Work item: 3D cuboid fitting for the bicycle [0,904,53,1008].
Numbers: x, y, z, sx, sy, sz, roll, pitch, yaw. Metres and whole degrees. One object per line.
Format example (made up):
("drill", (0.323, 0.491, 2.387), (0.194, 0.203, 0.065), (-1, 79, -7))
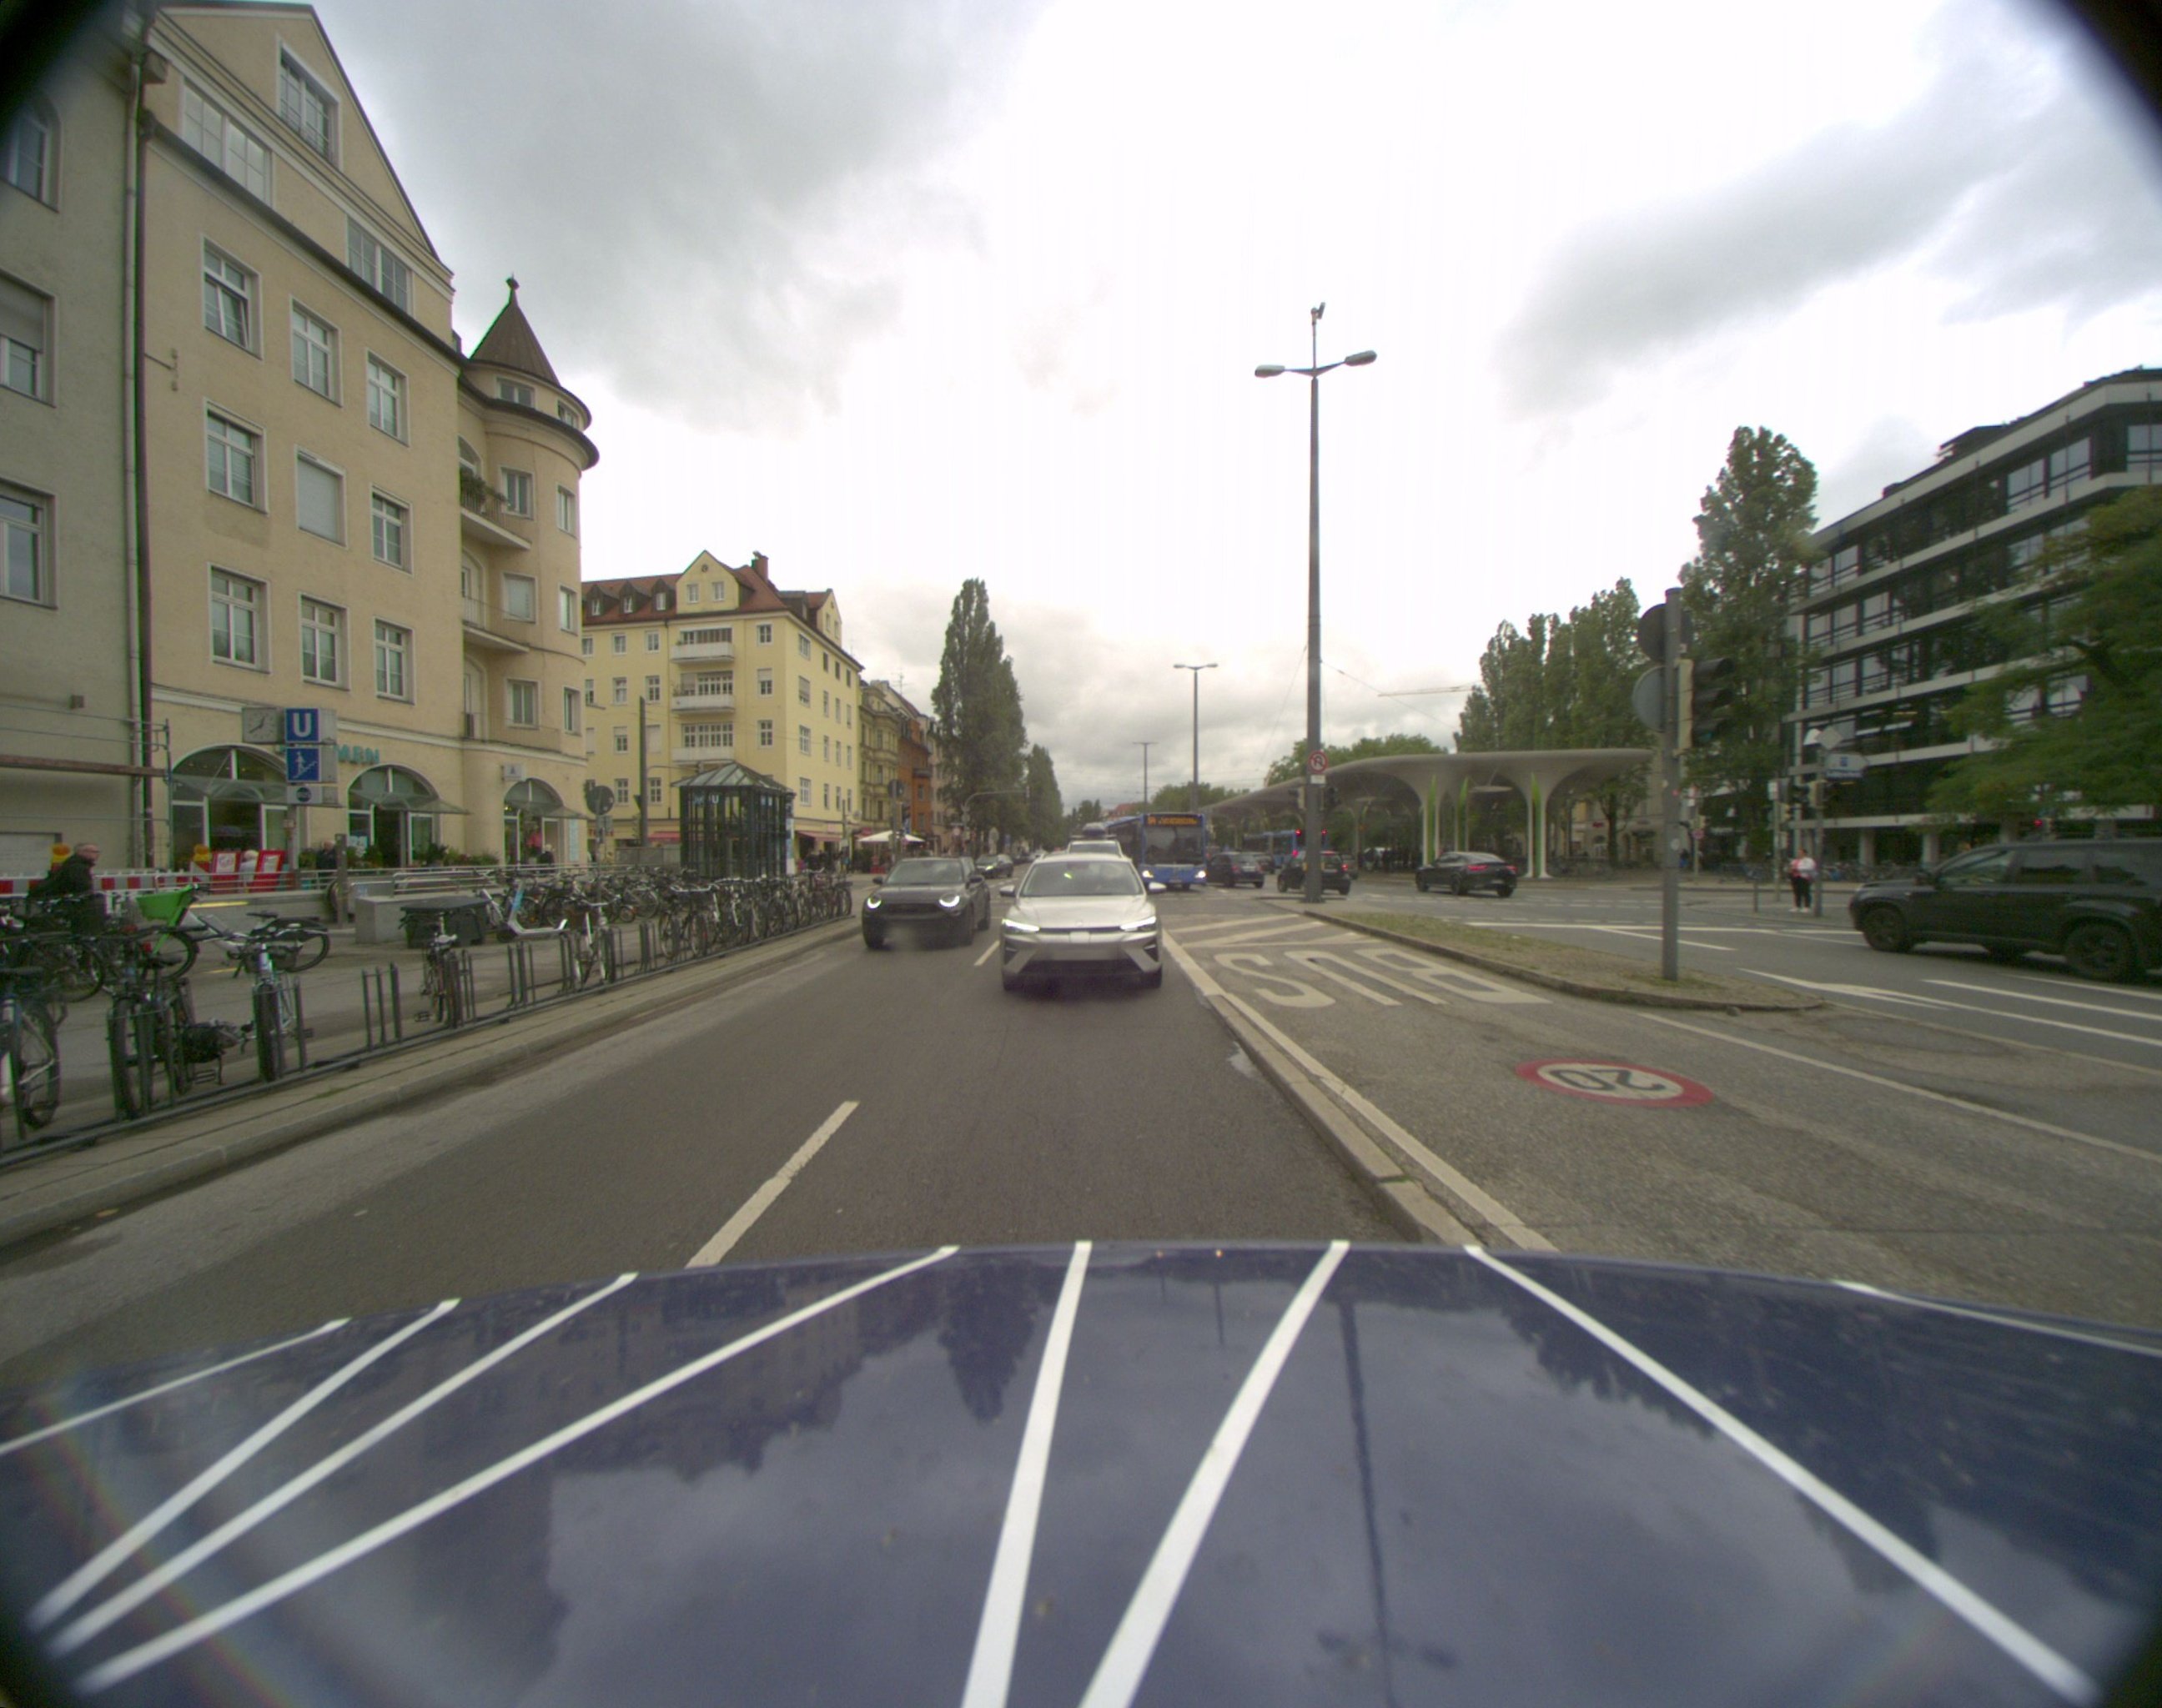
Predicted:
("bicycle", (-12.189, 1.088, 8.218), (1.452, 1.071, 0.410), (1, 1, -4))

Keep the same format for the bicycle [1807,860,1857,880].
("bicycle", (41.750, 0.889, 42.238), (2.073, 1.127, 0.561), (0, 1, 7))

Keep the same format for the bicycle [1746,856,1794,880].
("bicycle", (32.954, 0.647, 36.365), (0.473, 1.091, 1.672), (-1, 1, -23))

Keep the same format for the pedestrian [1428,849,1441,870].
("pedestrian", (23.299, 0.368, 50.041), (0.549, 1.330, 0.592), (0, 1, 0))

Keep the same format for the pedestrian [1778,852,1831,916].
("pedestrian", (17.994, 0.732, 18.900), (0.640, 1.543, 0.759), (-3, 2, -24))

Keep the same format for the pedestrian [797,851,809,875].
("pedestrian", (-17.864, 0.568, 48.903), (0.528, 1.517, 0.585), (0, 1, 2))

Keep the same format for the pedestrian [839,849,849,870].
("pedestrian", (-17.187, 0.378, 55.046), (0.528, 1.517, 0.585), (0, 1, 2))

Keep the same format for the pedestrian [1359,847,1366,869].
("pedestrian", (19.212, 0.270, 51.851), (0.426, 1.494, 0.490), (1, 1, 27))

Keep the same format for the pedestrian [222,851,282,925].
("pedestrian", (-17.655, 0.719, 16.197), (0.566, 1.533, 0.590), (0, 2, 0))

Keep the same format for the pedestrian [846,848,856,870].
("pedestrian", (-16.669, 0.360, 55.121), (0.528, 1.517, 0.585), (0, 1, 2))

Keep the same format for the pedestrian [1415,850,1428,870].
("pedestrian", (22.437, 0.389, 50.059), (0.549, 1.330, 0.592), (0, 1, 0))

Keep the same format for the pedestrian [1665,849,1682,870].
("pedestrian", (48.132, 0.430, 61.732), (0.799, 1.714, 0.827), (0, 1, 12))

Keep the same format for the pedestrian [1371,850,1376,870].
("pedestrian", (19.655, 0.399, 51.084), (0.316, 1.335, 0.339), (0, 1, 18))

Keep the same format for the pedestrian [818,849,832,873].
("pedestrian", (-17.758, 0.479, 52.679), (0.683, 1.657, 0.623), (0, 1, 14))

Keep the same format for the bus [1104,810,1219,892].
("bus", (3.115, -0.230, 33.291), (2.942, 2.927, 11.206), (-1, 1, -5))

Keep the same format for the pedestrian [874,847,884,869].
("pedestrian", (-15.270, 0.301, 57.412), (0.552, 1.675, 0.585), (0, 1, 2))

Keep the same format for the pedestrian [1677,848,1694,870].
("pedestrian", (49.069, 0.399, 61.698), (0.799, 1.714, 0.827), (0, 1, 12))

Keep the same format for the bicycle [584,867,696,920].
("bicycle", (-10.502, 0.925, 18.127), (2.317, 1.220, 0.628), (0, 1, 3))

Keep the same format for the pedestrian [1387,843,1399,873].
("pedestrian", (19.461, 0.239, 47.465), (0.666, 1.840, 0.789), (0, 1, 21))

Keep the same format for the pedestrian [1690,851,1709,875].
("pedestrian", (45.203, 0.647, 55.524), (0.834, 1.689, 0.906), (0, 1, 23))

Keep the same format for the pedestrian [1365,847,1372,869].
("pedestrian", (19.568, 0.296, 51.697), (0.320, 1.494, 0.317), (0, 1, -8))

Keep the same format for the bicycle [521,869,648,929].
("bicycle", (-10.595, 0.949, 16.243), (2.342, 1.220, 0.628), (0, 1, 3))

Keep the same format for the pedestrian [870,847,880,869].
("pedestrian", (-15.767, 0.295, 58.206), (0.552, 1.675, 0.585), (0, 1, 2))

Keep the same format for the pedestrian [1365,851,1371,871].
("pedestrian", (19.281, 0.438, 51.053), (0.316, 1.335, 0.339), (0, 1, 18))

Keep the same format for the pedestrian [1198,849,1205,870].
("pedestrian", (7.941, 0.369, 50.095), (0.357, 1.411, 0.380), (0, 1, 1))

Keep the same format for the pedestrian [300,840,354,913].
("pedestrian", (-18.334, 0.539, 18.487), (0.618, 1.729, 0.644), (0, 2, 0))

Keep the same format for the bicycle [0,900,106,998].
("bicycle", (-12.226, 1.079, 8.705), (1.452, 1.071, 0.410), (1, 1, -4))

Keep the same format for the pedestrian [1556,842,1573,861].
("pedestrian", (46.021, -0.259, 72.327), (0.983, 1.762, 0.952), (0, 1, -14))

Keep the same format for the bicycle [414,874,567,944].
("bicycle", (-10.789, 0.986, 13.917), (2.367, 1.220, 0.628), (0, 1, 3))

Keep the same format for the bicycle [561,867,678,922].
("bicycle", (-10.540, 0.906, 17.371), (2.330, 1.220, 0.628), (0, 1, 3))

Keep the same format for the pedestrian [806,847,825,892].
("pedestrian", (-10.563, 0.614, 30.253), (0.641, 1.767, 0.609), (-1, 1, -22))

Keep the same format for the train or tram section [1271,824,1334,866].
("train or tram section", (16.994, -0.687, 58.807), (2.840, 2.983, 7.407), (0, 1, 1))

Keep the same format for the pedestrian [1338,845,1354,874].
("pedestrian", (16.488, 0.333, 47.206), (0.711, 1.738, 0.788), (0, 1, 0))

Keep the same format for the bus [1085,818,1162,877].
("bus", (2.205, -0.441, 44.458), (2.942, 2.927, 11.206), (-1, 1, -5))

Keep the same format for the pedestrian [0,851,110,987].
("pedestrian", (-13.478, 0.812, 9.969), (0.741, 1.698, 0.703), (-1, 1, -40))

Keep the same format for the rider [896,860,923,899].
("rider", (-5.652, 0.835, 25.030), (0.732, 1.234, 0.732), (1, 2, -2))

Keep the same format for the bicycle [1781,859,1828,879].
("bicycle", (41.803, 0.852, 43.916), (2.073, 1.127, 0.561), (0, 1, 7))

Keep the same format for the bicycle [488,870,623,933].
("bicycle", (-10.569, 0.950, 15.307), (2.317, 1.220, 0.628), (0, 1, 3))

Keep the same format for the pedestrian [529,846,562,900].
("pedestrian", (-17.200, 0.597, 24.419), (0.566, 1.691, 0.590), (0, 2, 0))

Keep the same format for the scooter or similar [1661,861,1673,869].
("scooter or similar", (48.215, 0.898, 62.490), (0.519, 0.711, 0.681), (0, 1, 12))

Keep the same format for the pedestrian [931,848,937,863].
("pedestrian", (-16.707, 0.136, 86.566), (0.552, 1.675, 0.585), (0, 1, 2))

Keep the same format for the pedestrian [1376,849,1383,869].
("pedestrian", (20.094, 0.328, 51.131), (0.303, 1.369, 0.270), (0, 1, -1))

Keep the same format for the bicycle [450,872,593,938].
("bicycle", (-10.727, 0.970, 14.595), (2.342, 1.220, 0.628), (0, 1, 3))

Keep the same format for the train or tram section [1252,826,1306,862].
("train or tram section", (17.102, -0.842, 66.219), (2.840, 2.983, 7.407), (0, 1, 1))

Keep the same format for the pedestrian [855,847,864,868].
("pedestrian", (-17.921, 0.312, 61.468), (0.552, 1.675, 0.585), (0, 1, 2))

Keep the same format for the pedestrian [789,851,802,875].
("pedestrian", (-18.370, 0.583, 48.899), (0.528, 1.517, 0.585), (0, 1, 2))

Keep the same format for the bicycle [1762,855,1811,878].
("bicycle", (34.258, 0.595, 36.920), (0.473, 1.091, 1.672), (-1, 1, -23))

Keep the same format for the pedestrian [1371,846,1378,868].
("pedestrian", (19.895, 0.191, 51.441), (0.334, 1.494, 0.317), (0, 1, -8))

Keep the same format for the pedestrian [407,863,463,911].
("pedestrian", (-17.644, 0.897, 20.783), (0.701, 1.238, 0.919), (0, 2, 0))

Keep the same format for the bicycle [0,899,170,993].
("bicycle", (-12.224, 1.116, 9.338), (1.650, 1.071, 0.410), (1, 1, 4))

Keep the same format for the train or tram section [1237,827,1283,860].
("train or tram section", (17.199, -1.000, 73.617), (2.840, 2.983, 7.407), (0, 1, 1))

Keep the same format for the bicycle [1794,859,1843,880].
("bicycle", (41.777, 0.870, 43.078), (2.073, 1.127, 0.561), (0, 1, 7))

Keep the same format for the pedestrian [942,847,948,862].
("pedestrian", (-15.686, 0.079, 87.913), (0.552, 1.675, 0.585), (0, 1, 2))

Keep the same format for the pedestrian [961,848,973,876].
("pedestrian", (-7.407, 0.486, 49.510), (0.732, 1.792, 0.710), (0, 3, -8))

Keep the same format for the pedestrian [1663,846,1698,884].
("pedestrian", (28.250, 0.529, 35.832), (0.861, 1.767, 0.980), (0, 1, 2))
